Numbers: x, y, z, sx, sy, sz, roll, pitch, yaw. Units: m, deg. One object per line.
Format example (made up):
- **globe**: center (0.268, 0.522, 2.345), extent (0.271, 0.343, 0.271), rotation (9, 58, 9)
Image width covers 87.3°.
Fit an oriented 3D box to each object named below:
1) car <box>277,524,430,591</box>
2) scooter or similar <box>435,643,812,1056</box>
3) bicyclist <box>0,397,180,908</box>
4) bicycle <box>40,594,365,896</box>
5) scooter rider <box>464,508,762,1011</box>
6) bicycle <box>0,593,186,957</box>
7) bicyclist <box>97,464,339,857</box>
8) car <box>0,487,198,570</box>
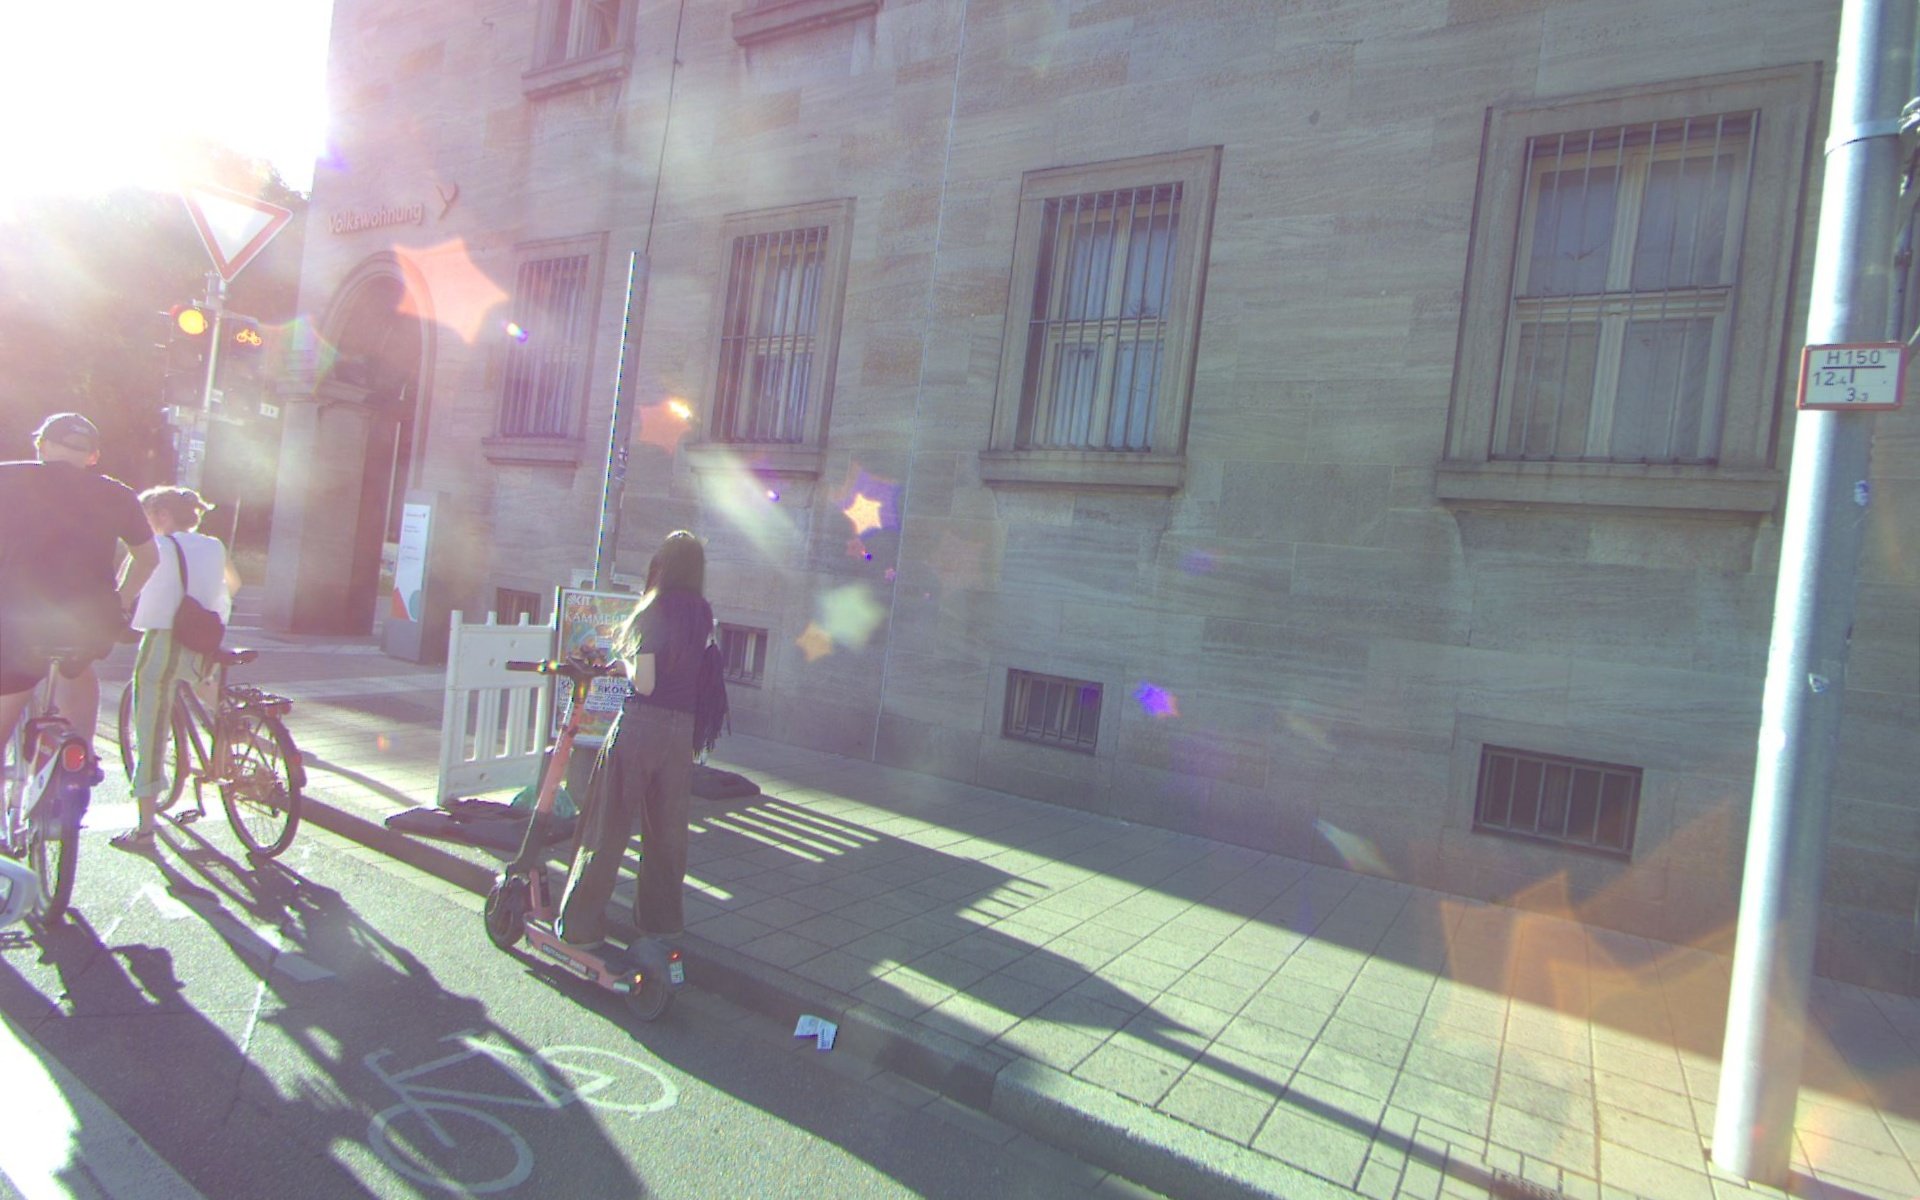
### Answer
- **car**: center (-19.802, -1.347, 32.993), extent (1.623, 1.630, 3.854), rotation (7, -1, 31)
- **scooter or similar**: center (-1.313, 0.853, 3.860), extent (1.305, 1.199, 0.535), rotation (7, 0, 31)
- **bicyclist**: center (-3.547, 0.195, 3.857), extent (0.541, 1.820, 0.559), rotation (7, -1, 33)
- **bicycle**: center (-3.681, 0.623, 4.844), extent (1.721, 1.090, 0.535), rotation (7, -1, 31)
- **scooter rider**: center (-1.310, 0.557, 3.868), extent (0.547, 1.691, 0.730), rotation (7, 0, 31)
- **bicycle**: center (-3.737, 0.576, 3.927), extent (1.700, 1.090, 0.516), rotation (7, -1, 34)
- **bicyclist**: center (-3.534, 0.268, 4.806), extent (0.629, 1.711, 0.558), rotation (7, -1, 30)
- **car**: center (-23.371, -1.892, 27.198), extent (1.622, 1.630, 3.999), rotation (7, -1, 31)
